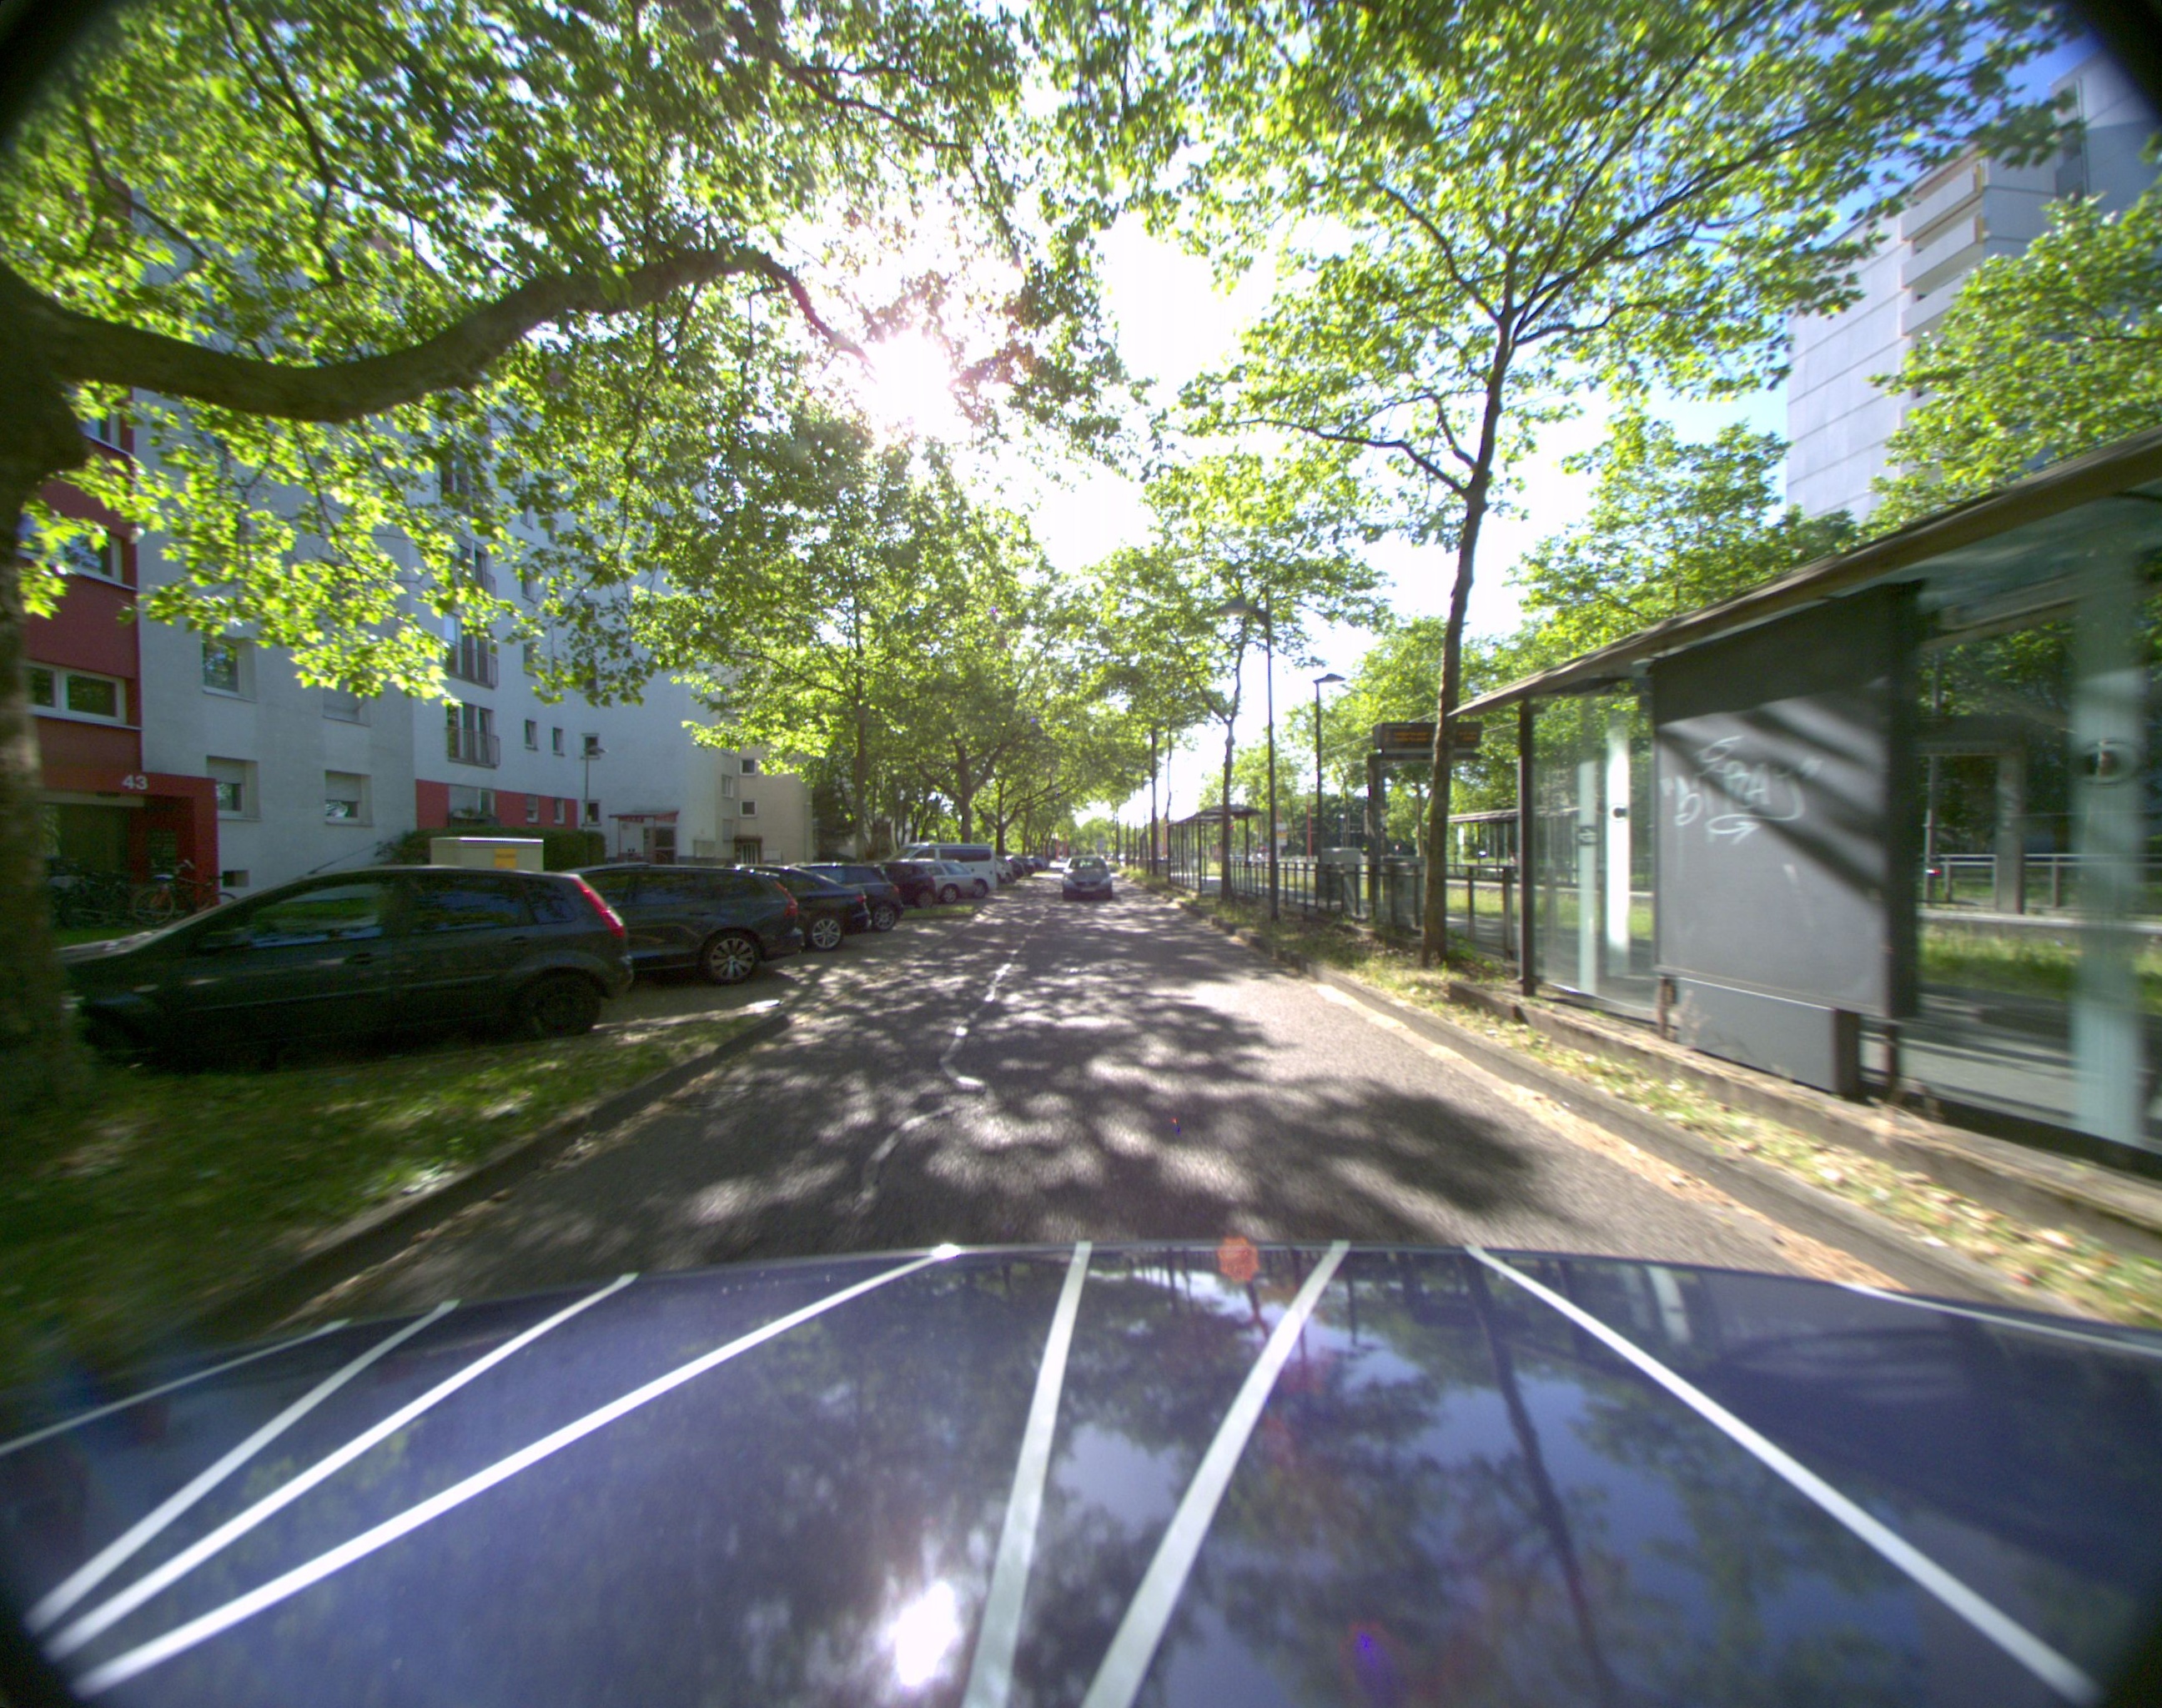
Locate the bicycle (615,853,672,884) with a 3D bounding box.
[{"bbox_3d":[-16.738,0.553,29.103,1.799,1.123,0.500,2,0,-5],"label":"bicycle"}]

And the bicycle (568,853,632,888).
[{"bbox_3d":[-16.649,0.570,26.328,1.799,1.123,0.500,2,0,-5],"label":"bicycle"}]

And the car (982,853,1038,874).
[{"bbox_3d":[-5.461,0.720,58.784,4.008,1.566,1.795,1,0,-40],"label":"car"}]

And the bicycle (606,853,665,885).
[{"bbox_3d":[-16.715,0.567,28.533,1.799,1.123,0.550,2,0,-5],"label":"bicycle"}]

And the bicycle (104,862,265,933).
[{"bbox_3d":[-15.226,0.704,12.988,0.591,1.101,1.800,-1,0,0],"label":"bicycle"}]

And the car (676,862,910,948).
[{"bbox_3d":[-5.694,0.934,15.309,4.009,1.459,1.777,1,0,-42],"label":"car"}]

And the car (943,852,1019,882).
[{"bbox_3d":[-5.710,0.740,43.796,4.009,1.580,1.795,1,1,-42],"label":"car"}]

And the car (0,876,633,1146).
[{"bbox_3d":[-5.931,0.943,5.797,4.009,1.453,1.794,1,0,-44],"label":"car"}]

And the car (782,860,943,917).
[{"bbox_3d":[-6.072,0.921,21.367,3.932,1.408,1.794,1,0,-43],"label":"car"}]

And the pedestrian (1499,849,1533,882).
[{"bbox_3d":[15.807,0.419,27.624,0.768,1.177,0.763,-1,1,1],"label":"pedestrian"}]

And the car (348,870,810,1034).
[{"bbox_3d":[-5.695,0.953,9.069,4.266,1.453,1.795,1,0,-40],"label":"car"}]

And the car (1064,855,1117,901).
[{"bbox_3d":[0.332,0.825,28.052,1.799,1.580,3.763,-1,0,0],"label":"car"}]

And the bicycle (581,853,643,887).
[{"bbox_3d":[-16.619,0.566,26.938,1.799,1.123,0.500,2,0,-5],"label":"bicycle"}]

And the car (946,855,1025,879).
[{"bbox_3d":[-5.886,0.804,47.028,4.418,1.420,1.946,1,0,-39],"label":"car"}]

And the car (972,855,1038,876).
[{"bbox_3d":[-5.355,0.778,54.112,4.600,1.414,1.795,1,0,-45],"label":"car"}]

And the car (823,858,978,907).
[{"bbox_3d":[-5.798,0.891,24.749,4.600,1.415,1.795,1,0,-41],"label":"car"}]

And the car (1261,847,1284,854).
[{"bbox_3d":[38.512,-0.684,152.795,3.990,1.501,1.803,-1,0,27],"label":"car"}]

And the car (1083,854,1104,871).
[{"bbox_3d":[1.163,0.757,70.324,1.799,1.530,3.999,0,0,-1],"label":"car"}]

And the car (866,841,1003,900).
[{"bbox_3d":[-5.394,0.593,28.282,4.600,2.040,2.011,1,1,-40],"label":"car"}]

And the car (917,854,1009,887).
[{"bbox_3d":[-5.772,0.810,37.481,1.794,1.501,4.221,2,0,43],"label":"car"}]

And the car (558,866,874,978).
[{"bbox_3d":[-5.743,0.956,12.245,4.265,1.453,1.795,1,0,-40],"label":"car"}]

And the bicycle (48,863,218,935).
[{"bbox_3d":[-15.959,0.721,12.877,0.591,1.101,1.800,-1,0,0],"label":"bicycle"}]

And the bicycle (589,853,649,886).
[{"bbox_3d":[-16.663,0.567,27.435,1.799,1.123,0.500,2,0,-5],"label":"bicycle"}]

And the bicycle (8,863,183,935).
[{"bbox_3d":[-16.590,0.723,12.875,0.591,1.101,1.800,-1,0,0],"label":"bicycle"}]

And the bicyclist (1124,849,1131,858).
[{"bbox_3d":[8.047,-0.042,130.712,0.955,1.469,0.704,-1,1,24],"label":"bicyclist"}]

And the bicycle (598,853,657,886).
[{"bbox_3d":[-16.687,0.568,27.973,1.799,1.123,0.500,2,0,-5],"label":"bicycle"}]

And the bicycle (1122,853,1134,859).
[{"bbox_3d":[8.050,0.353,130.722,1.896,1.101,0.704,-1,1,24],"label":"bicycle"}]

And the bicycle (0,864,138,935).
[{"bbox_3d":[-17.393,0.737,12.858,0.591,1.101,1.800,-1,0,0],"label":"bicycle"}]
